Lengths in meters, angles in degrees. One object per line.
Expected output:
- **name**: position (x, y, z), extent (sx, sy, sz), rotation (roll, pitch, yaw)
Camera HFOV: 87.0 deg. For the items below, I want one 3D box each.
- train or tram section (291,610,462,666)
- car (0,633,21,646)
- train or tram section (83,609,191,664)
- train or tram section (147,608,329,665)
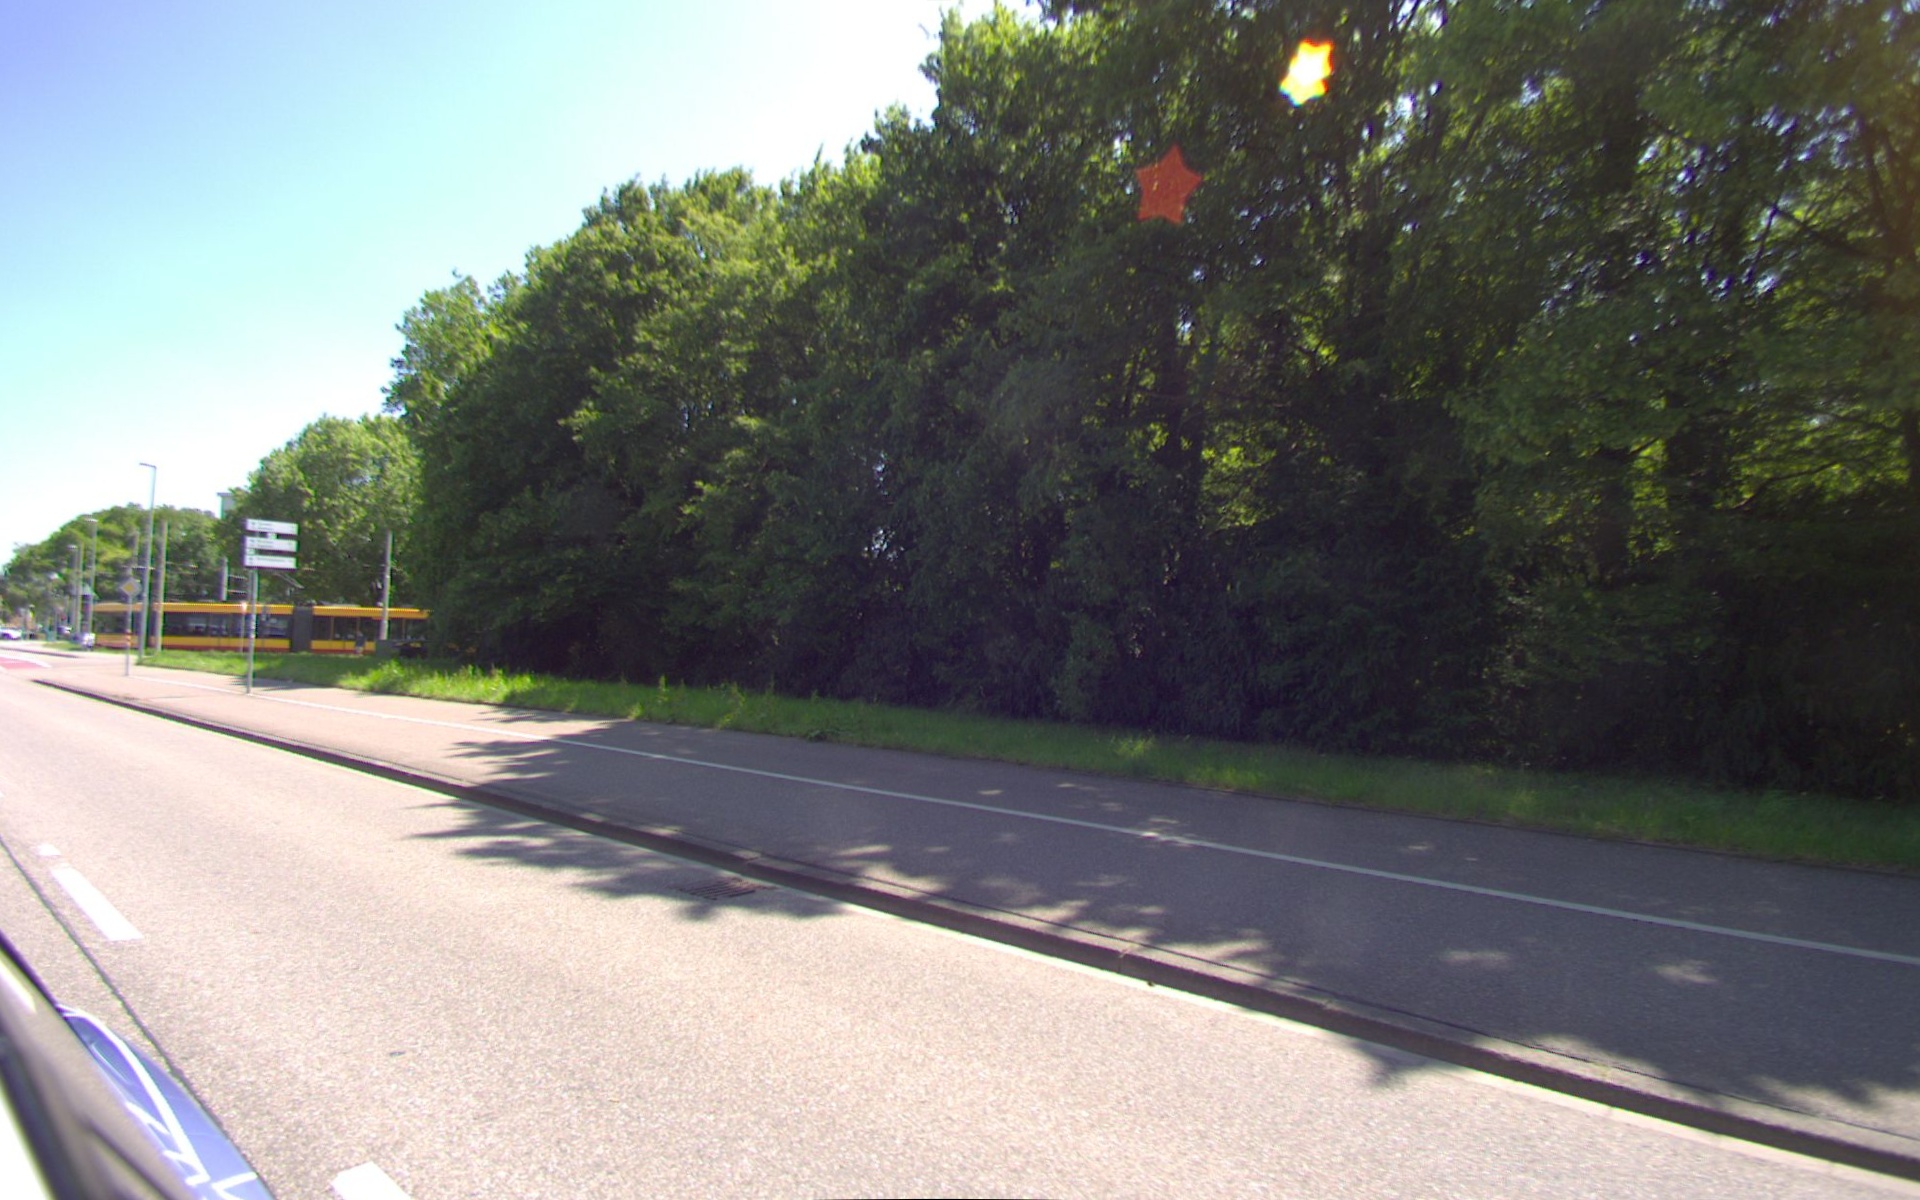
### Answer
- **train or tram section**: position (-37.708, 2.518, 65.807), extent (9.192, 3.492, 2.791), rotation (1, -3, -17)
- **car**: position (-103.279, 4.245, 108.297), extent (3.743, 1.401, 1.637), rotation (2, -3, -24)
- **train or tram section**: position (-56.278, 2.493, 69.099), extent (10.824, 3.492, 2.550), rotation (-1, -3, 34)
- **train or tram section**: position (-46.623, 2.356, 65.395), extent (10.731, 3.492, 2.644), rotation (0, -3, 9)
